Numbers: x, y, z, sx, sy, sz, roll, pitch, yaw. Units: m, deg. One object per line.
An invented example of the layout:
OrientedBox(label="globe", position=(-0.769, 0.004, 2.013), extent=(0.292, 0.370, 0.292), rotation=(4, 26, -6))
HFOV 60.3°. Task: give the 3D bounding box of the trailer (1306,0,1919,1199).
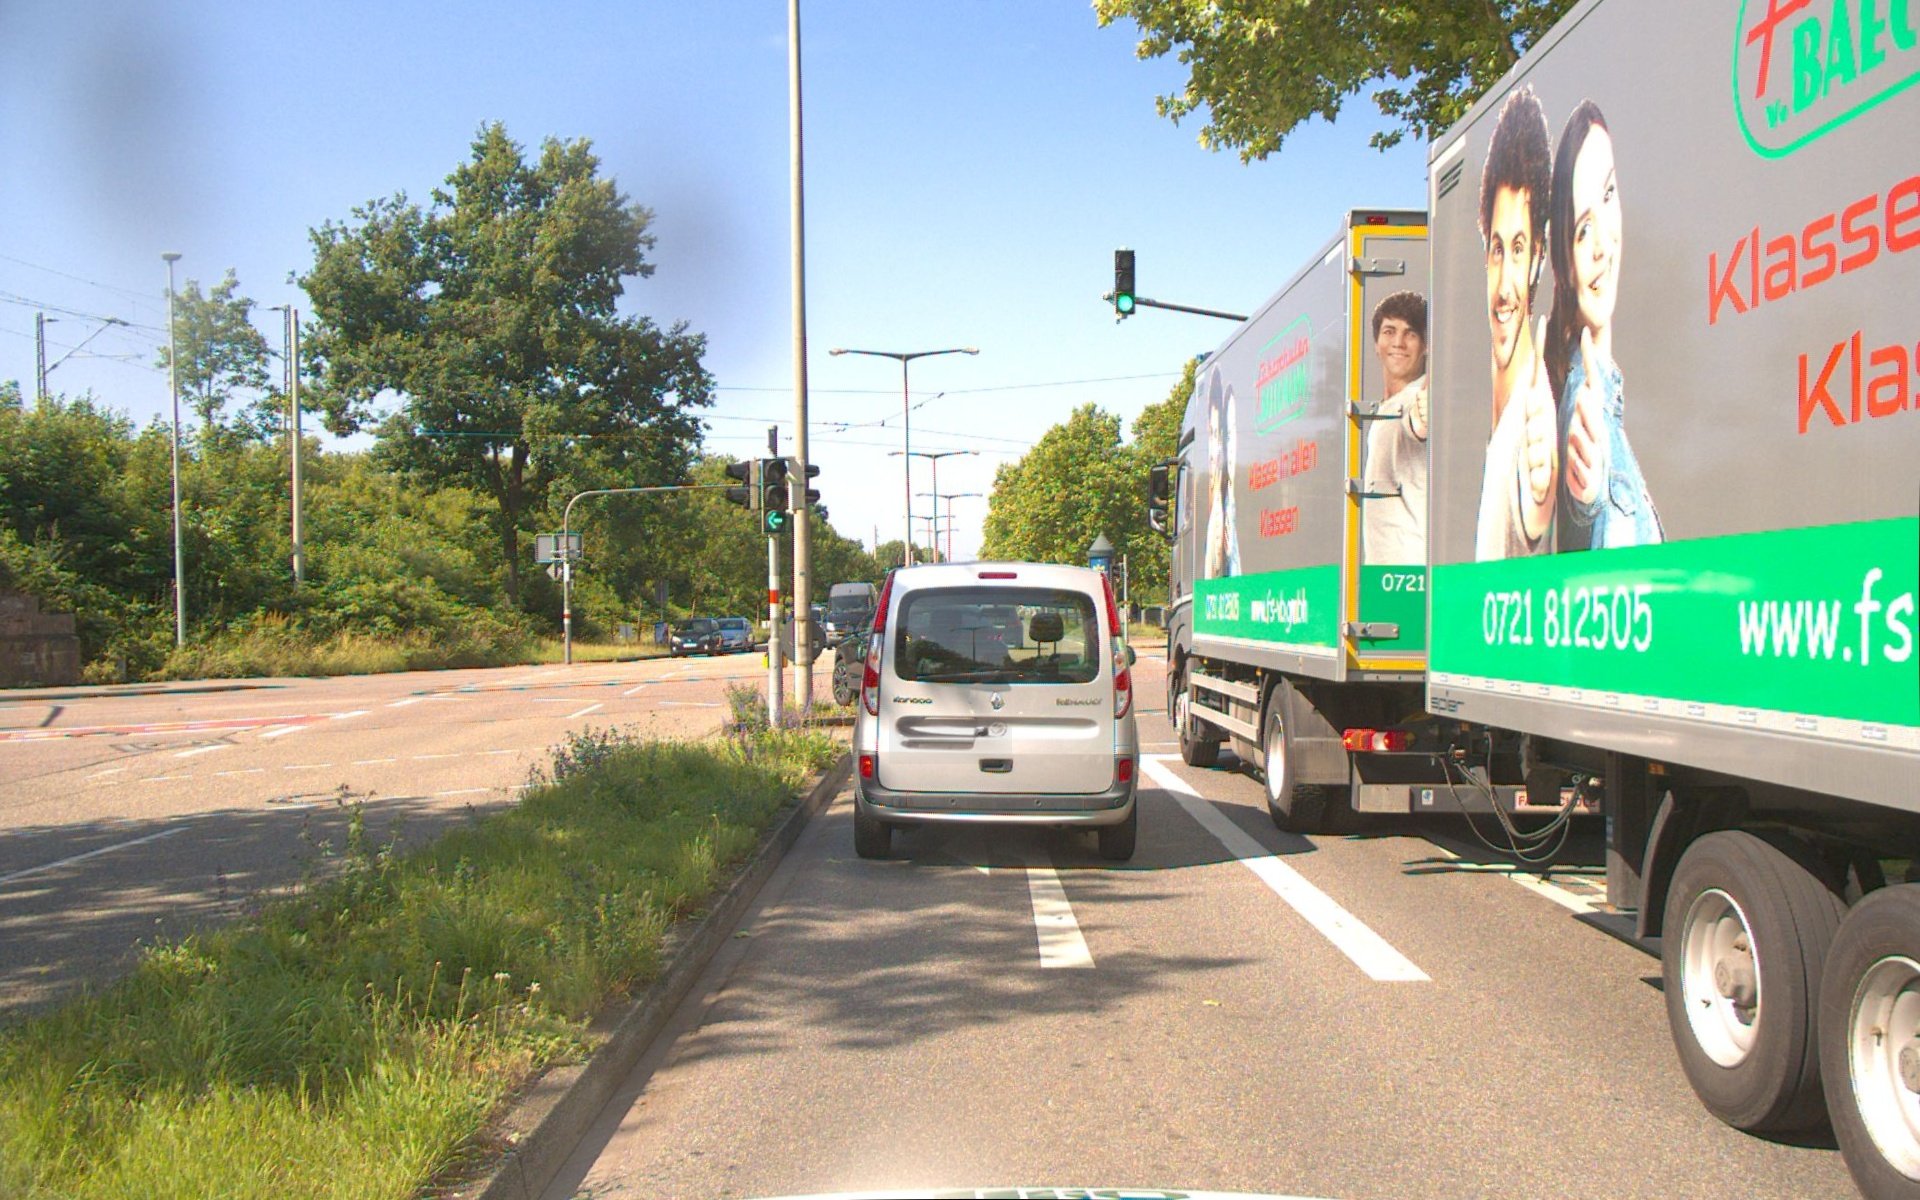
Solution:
OrientedBox(label="trailer", position=(3.294, -0.474, 5.497), extent=(2.680, 3.945, 7.735), rotation=(-1, -1, 0))

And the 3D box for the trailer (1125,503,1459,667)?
OrientedBox(label="trailer", position=(9.022, -0.217, 42.965), extent=(2.855, 3.686, 12.618), rotation=(0, -1, 40))

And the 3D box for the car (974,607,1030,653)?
OrientedBox(label="car", position=(1.557, 1.085, 60.871), extent=(1.952, 1.613, 4.457), rotation=(1, -1, 2))

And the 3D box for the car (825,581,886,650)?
OrientedBox(label="car", position=(-4.193, 0.632, 66.976), extent=(1.952, 2.653, 5.134), rotation=(-1, -1, 1))

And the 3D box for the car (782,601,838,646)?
OrientedBox(label="car", position=(-6.705, 1.040, 74.316), extent=(1.952, 1.903, 4.774), rotation=(-1, -1, 1))

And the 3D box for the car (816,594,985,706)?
OrientedBox(label="car", position=(-0.909, 0.782, 27.851), extent=(1.889, 1.691, 4.232), rotation=(-1, 0, 11))

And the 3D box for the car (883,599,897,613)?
OrientedBox(label="car", position=(-10.603, 0.866, 251.944), extent=(1.849, 2.049, 4.000), rotation=(1, -1, 1))

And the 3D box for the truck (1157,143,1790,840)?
OrientedBox(label="truck", position=(3.442, -0.563, 13.796), extent=(2.673, 3.958, 8.723), rotation=(0, -1, 1))

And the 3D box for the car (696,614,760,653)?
OrientedBox(label="car", position=(-9.788, 1.419, 70.079), extent=(1.952, 1.567, 4.236), rotation=(-1, -1, 1))

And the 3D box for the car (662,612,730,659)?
OrientedBox(label="car", position=(-9.999, 1.339, 62.839), extent=(1.872, 1.670, 3.737), rotation=(-1, -1, 1))

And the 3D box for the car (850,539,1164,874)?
OrientedBox(label="car", position=(0.221, 0.632, 11.361), extent=(1.750, 1.870, 3.998), rotation=(1, -1, -2))
